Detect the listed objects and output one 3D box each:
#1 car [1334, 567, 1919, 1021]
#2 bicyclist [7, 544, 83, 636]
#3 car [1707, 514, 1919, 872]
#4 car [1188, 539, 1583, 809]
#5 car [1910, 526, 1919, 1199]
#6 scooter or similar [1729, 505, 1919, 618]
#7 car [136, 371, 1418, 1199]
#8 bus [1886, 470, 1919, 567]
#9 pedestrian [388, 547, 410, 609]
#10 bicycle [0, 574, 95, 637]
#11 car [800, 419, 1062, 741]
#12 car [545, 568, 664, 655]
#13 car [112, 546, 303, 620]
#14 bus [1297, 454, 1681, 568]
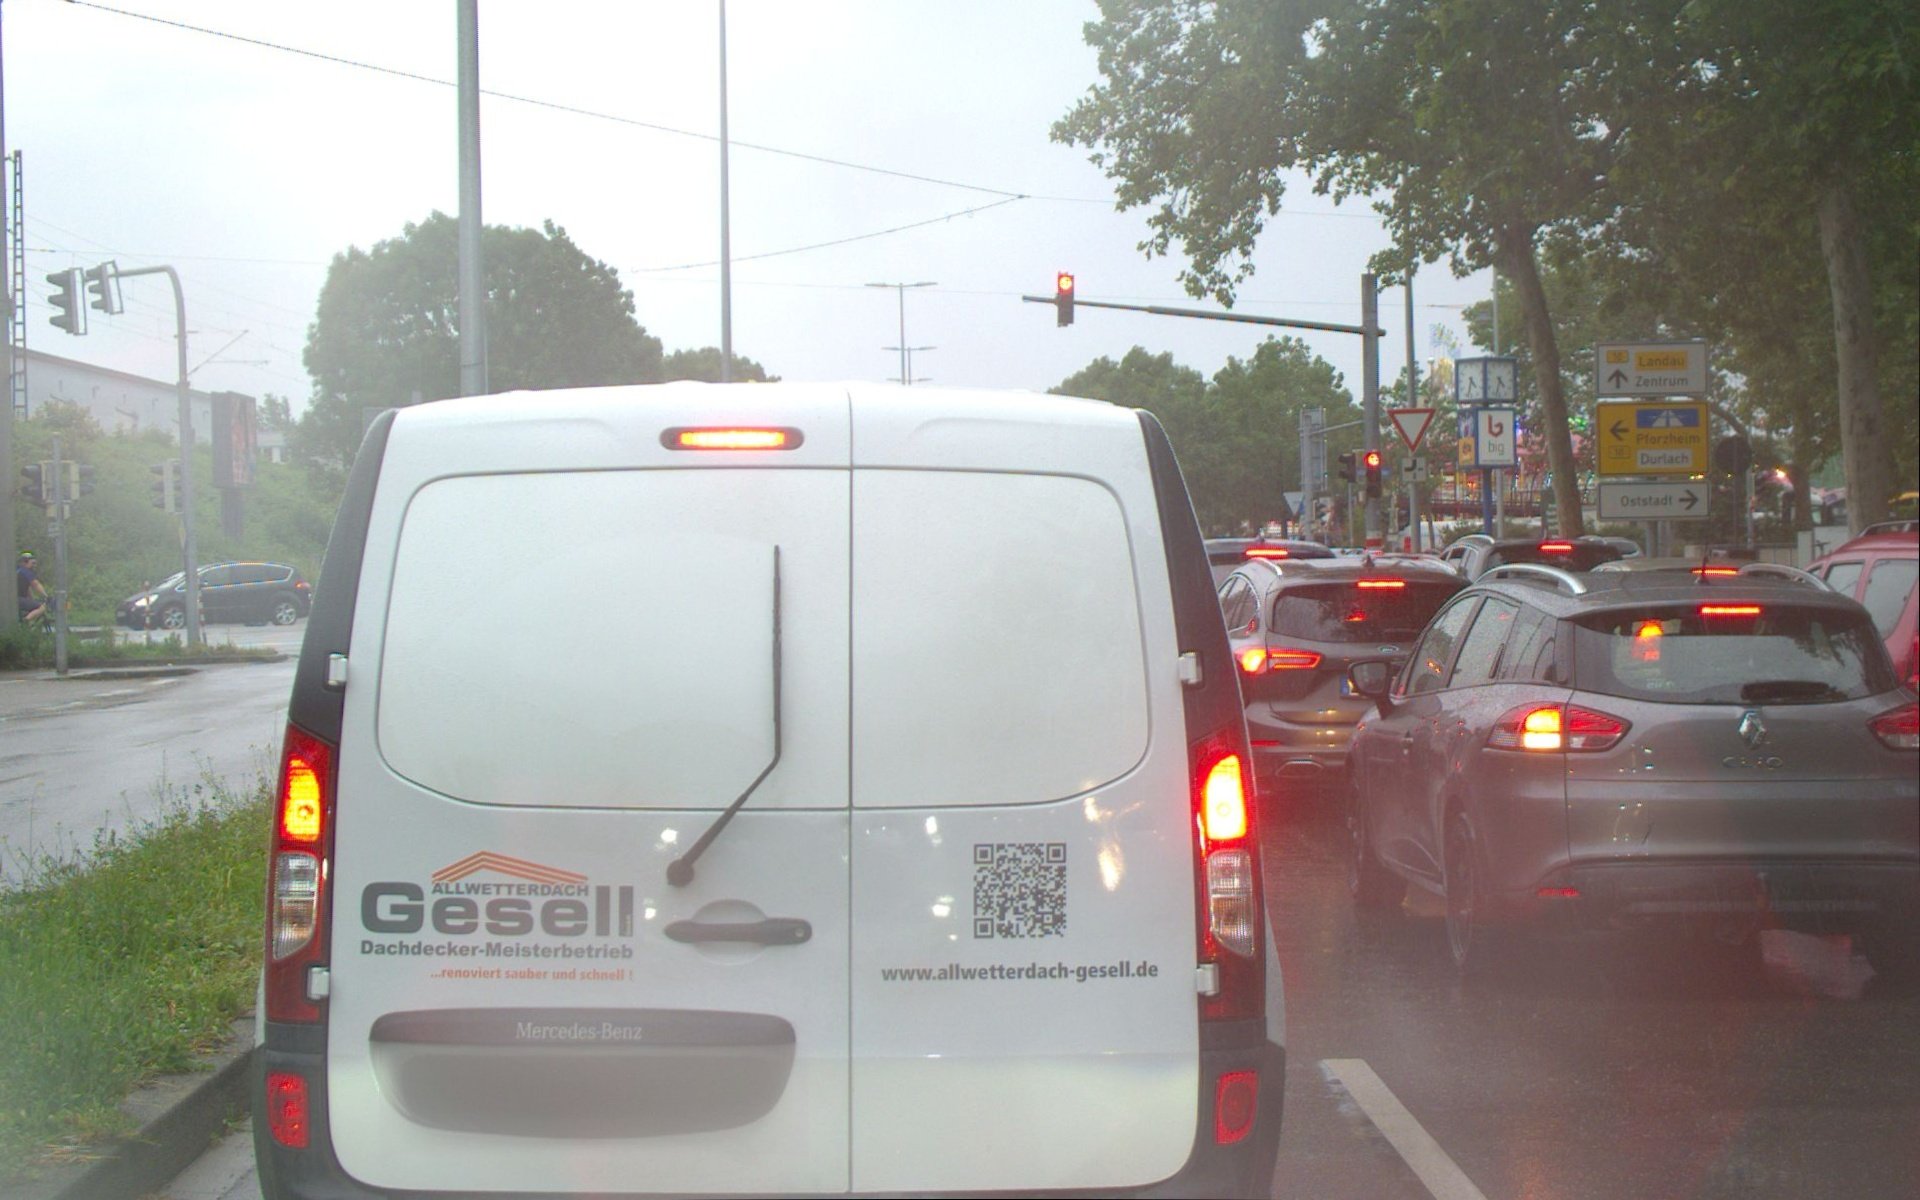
[{"bbox_3d":[2.520,0.612,13.006,1.683,1.403,3.843,1,1,-1],"label":"car"},{"bbox_3d":[-14.777,-0.170,55.519,1.040,1.445,0.729,-2,2,-25],"label":"bicyclist"},{"bbox_3d":[5.352,0.441,18.386,1.710,1.688,4.272,1,0,-1],"label":"car"},{"bbox_3d":[2.443,0.369,20.638,1.854,1.455,3.843,0,1,-1],"label":"car"},{"bbox_3d":[2.986,0.652,5.414,1.747,1.549,4.091,0,1,-1],"label":"car"},{"bbox_3d":[20.008,-0.874,77.066,1.890,2.437,5.316,-1,1,-41],"label":"scooter or similar"},{"bbox_3d":[-0.307,0.483,7.657,1.993,1.770,4.585,0,1,-1],"label":"car"},{"bbox_3d":[38.268,-3.032,123.737,11.973,3.411,2.483,-2,2,-36],"label":"bus"},{"bbox_3d":[-15.685,-0.619,96.157,0.543,1.710,0.563,1,0,-4],"label":"pedestrian"},{"bbox_3d":[-14.800,0.074,55.582,1.040,0.949,2.889,-2,2,-25],"label":"bicycle"},{"bbox_3d":[-0.228,-0.183,26.372,1.854,2.288,3.843,0,1,-1],"label":"car"},{"bbox_3d":[-6.550,0.185,63.651,1.816,1.457,4.000,-3,1,-1],"label":"car"},{"bbox_3d":[-17.929,-0.418,81.941,3.987,1.711,2.000,-1,1,-36],"label":"car"},{"bbox_3d":[16.986,-2.879,110.880,11.970,3.411,2.315,-1,1,0],"label":"bus"}]
